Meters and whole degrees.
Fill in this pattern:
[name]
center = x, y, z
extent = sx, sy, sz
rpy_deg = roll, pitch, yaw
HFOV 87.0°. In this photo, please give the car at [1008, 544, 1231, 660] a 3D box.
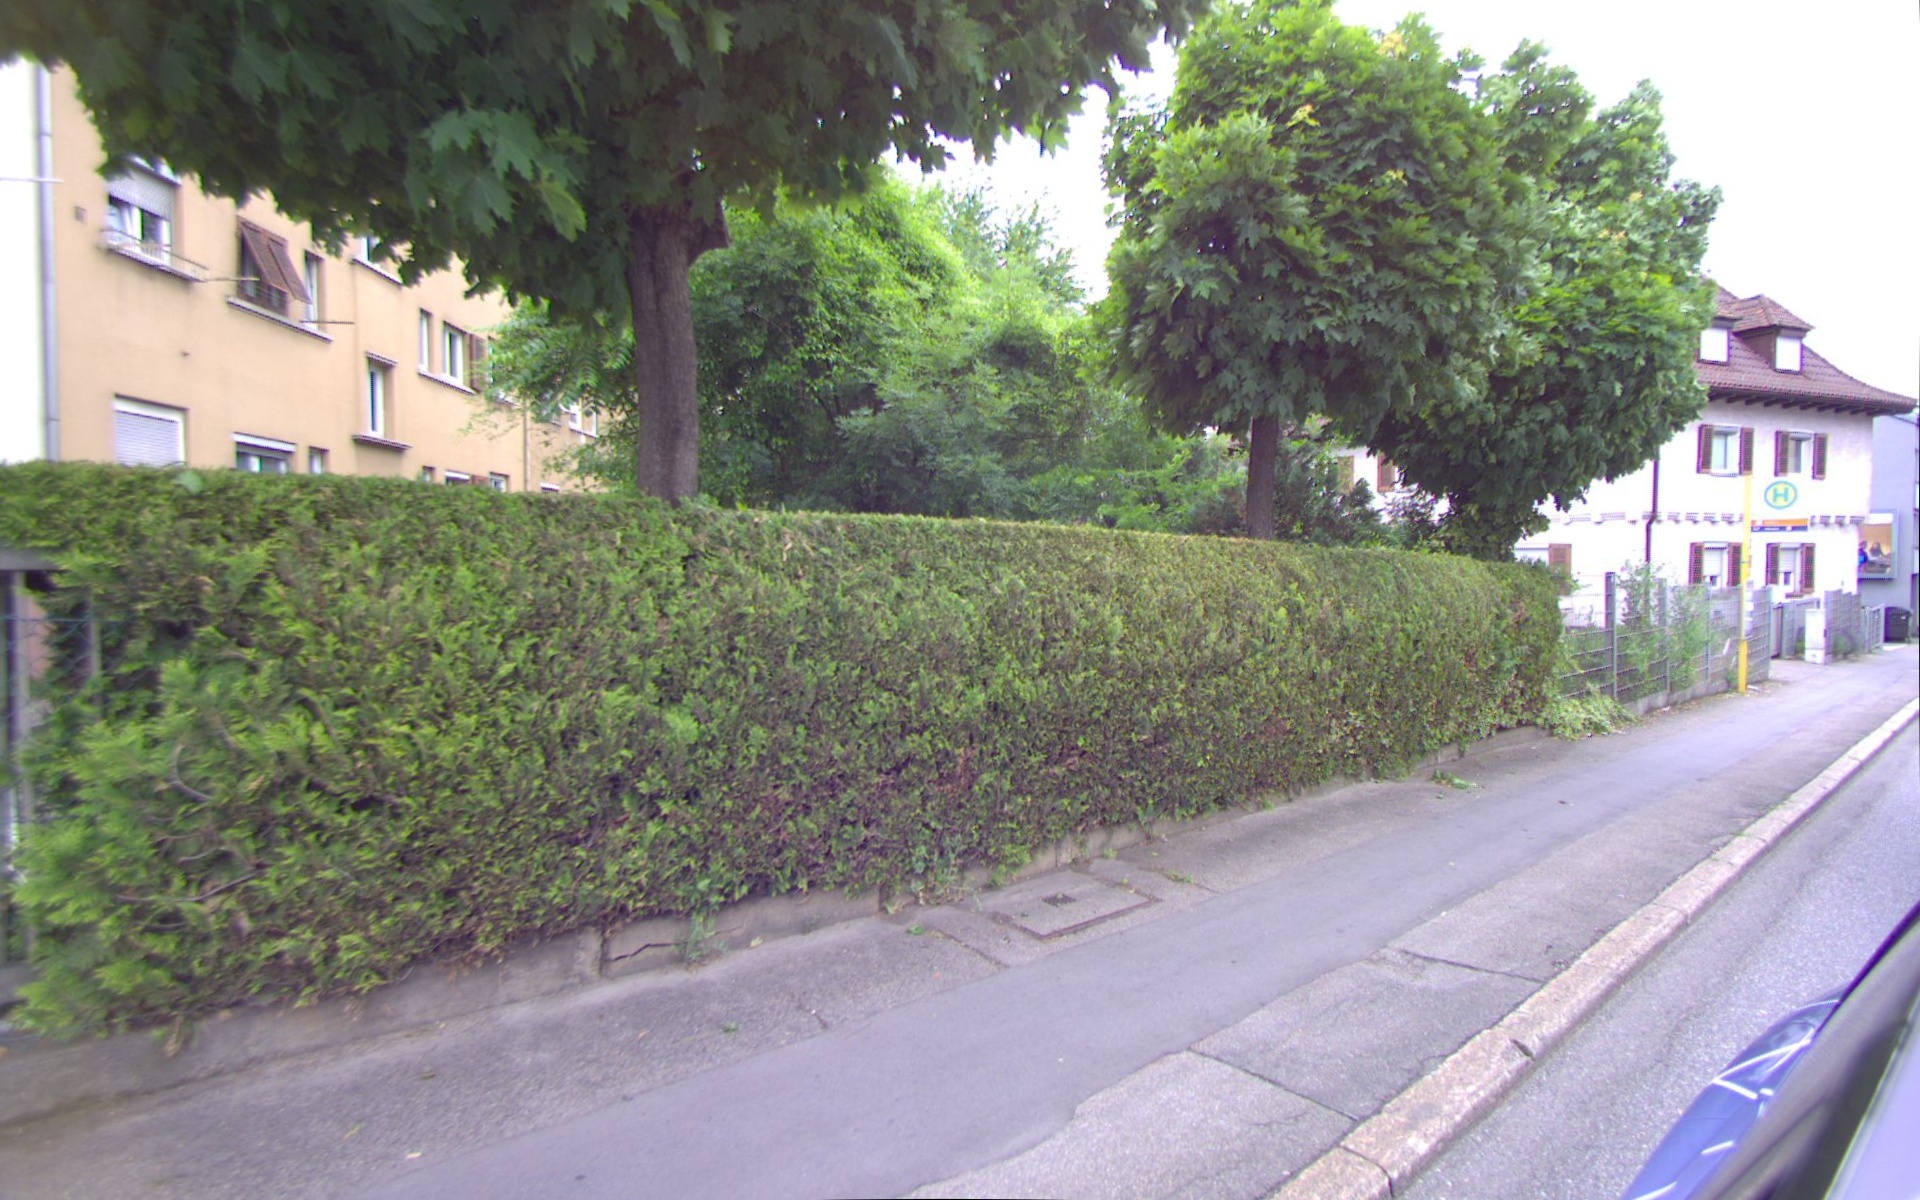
[car]
center = 2.973, 0.019, 19.557
extent = 3.923, 2.039, 2.001
rpy_deg = 1, 1, -1
